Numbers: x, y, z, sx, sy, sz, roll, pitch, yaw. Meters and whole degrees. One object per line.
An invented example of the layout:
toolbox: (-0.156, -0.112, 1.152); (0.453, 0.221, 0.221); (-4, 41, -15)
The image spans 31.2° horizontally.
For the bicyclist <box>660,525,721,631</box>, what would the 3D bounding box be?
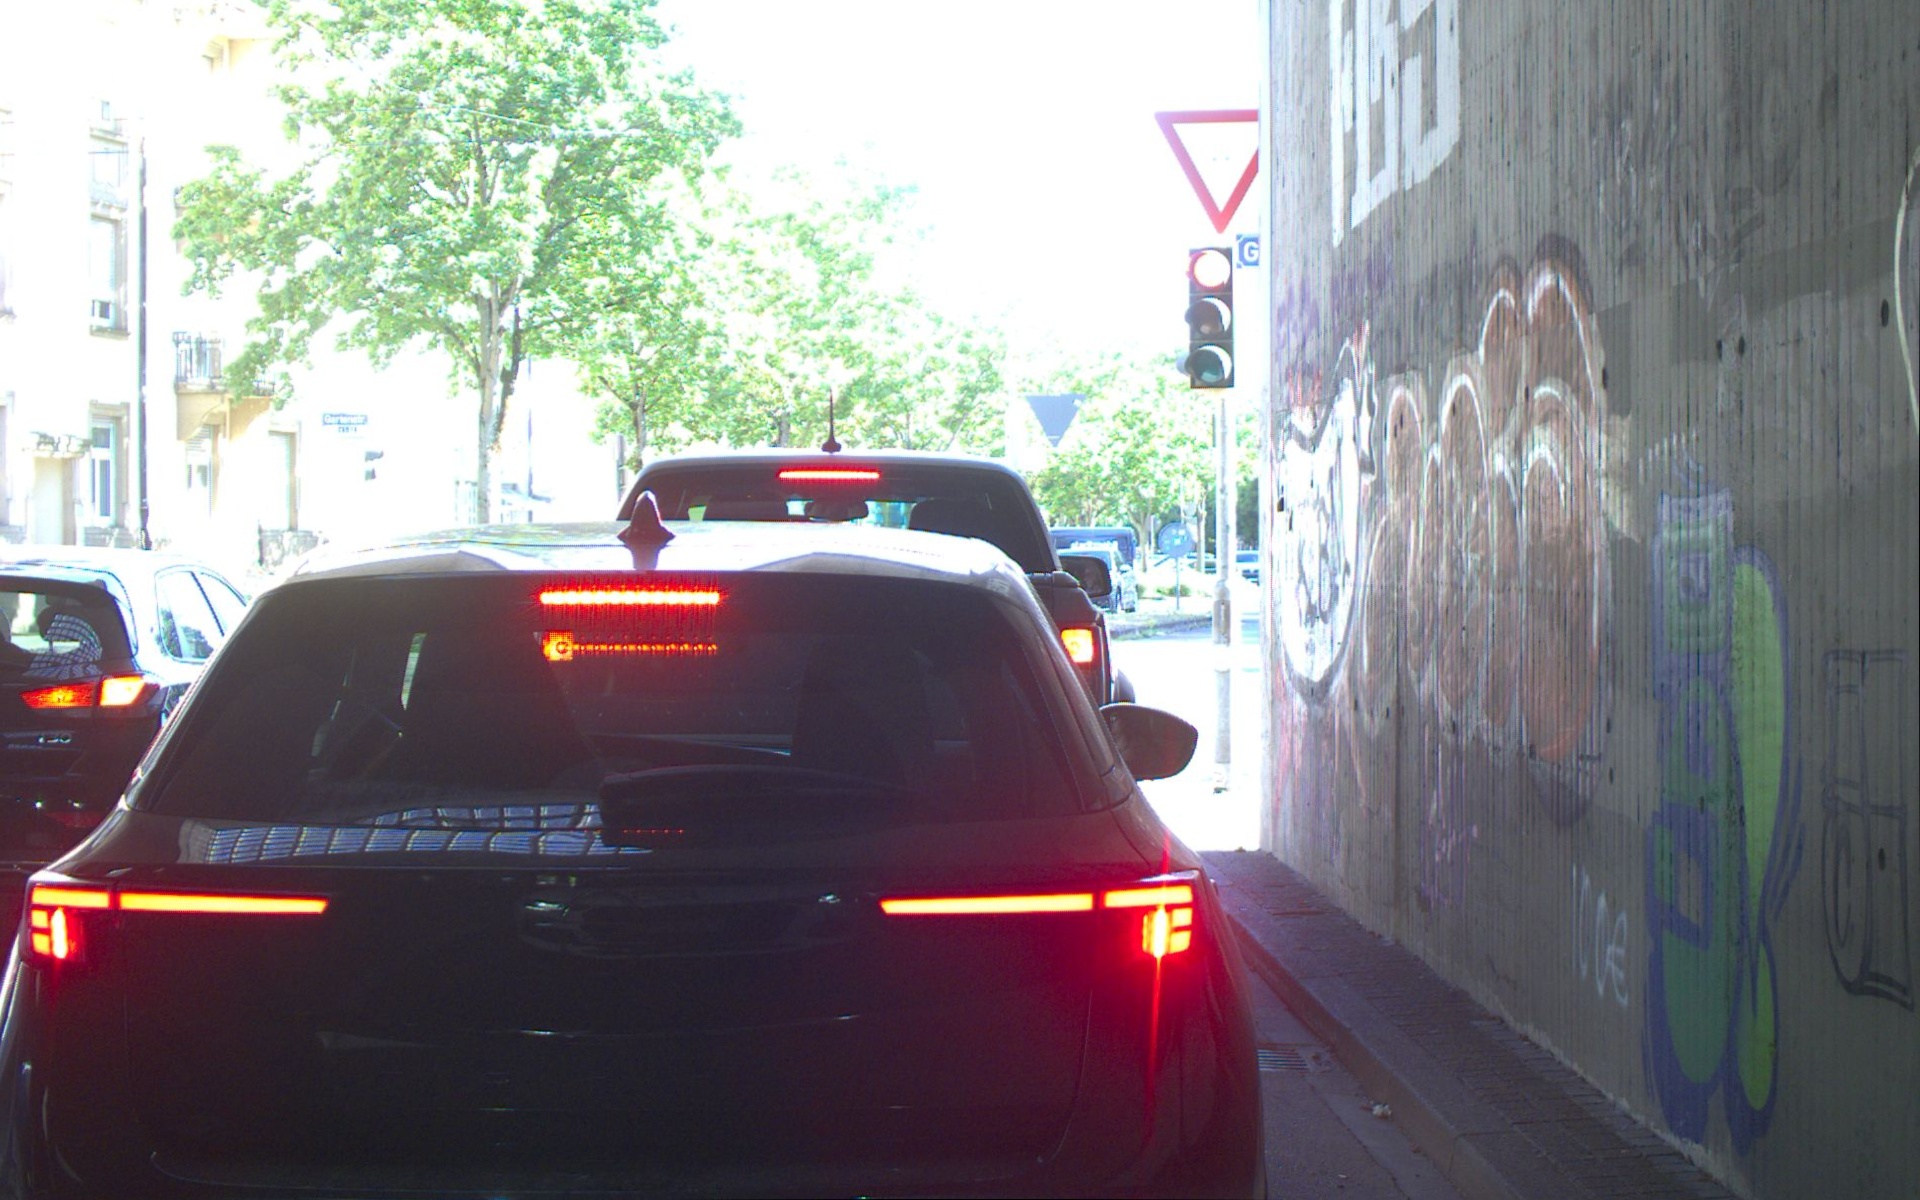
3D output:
bicyclist: (-4.083, -0.338, 52.114); (0.729, 1.576, 0.814); (1, 0, 9)

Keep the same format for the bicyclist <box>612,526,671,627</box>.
bicyclist: (-5.041, -0.372, 54.447); (0.729, 1.576, 0.814); (1, 0, 9)

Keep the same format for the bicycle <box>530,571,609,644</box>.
bicycle: (-5.850, 0.100, 51.563); (0.732, 1.064, 1.688); (1, 1, 9)

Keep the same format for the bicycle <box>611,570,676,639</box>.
bicycle: (-5.024, 0.066, 54.631); (0.626, 1.064, 1.688); (1, 1, 9)

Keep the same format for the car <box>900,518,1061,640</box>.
car: (0.302, -0.240, 44.219); (1.968, 1.492, 3.896); (0, -1, 1)

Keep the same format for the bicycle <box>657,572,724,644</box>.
bicycle: (-4.077, 0.118, 52.101); (0.626, 1.064, 1.688); (1, 1, 9)

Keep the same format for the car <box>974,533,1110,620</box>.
car: (1.517, -0.396, 62.240); (1.969, 1.492, 3.895); (0, -1, 9)

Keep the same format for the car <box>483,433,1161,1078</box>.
car: (-0.419, 0.412, 11.938); (1.945, 1.853, 3.964); (0, 1, -1)

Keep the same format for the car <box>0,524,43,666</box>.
car: (-12.654, -0.060, 38.175); (4.386, 1.546, 1.882); (0, 1, 5)

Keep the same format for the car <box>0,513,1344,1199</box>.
car: (-0.501, 0.631, 6.116); (1.882, 1.532, 3.964); (-1, 1, -1)

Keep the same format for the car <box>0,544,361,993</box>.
car: (-3.530, 0.521, 13.370); (1.779, 1.442, 4.179); (1, 1, -2)

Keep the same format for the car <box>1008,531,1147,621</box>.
car: (2.404, -0.454, 69.050); (2.221, 1.713, 4.458); (0, -1, 10)

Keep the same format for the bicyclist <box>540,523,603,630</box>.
bicyclist: (-5.832, -0.356, 51.589); (0.729, 1.576, 0.814); (1, 0, 9)
